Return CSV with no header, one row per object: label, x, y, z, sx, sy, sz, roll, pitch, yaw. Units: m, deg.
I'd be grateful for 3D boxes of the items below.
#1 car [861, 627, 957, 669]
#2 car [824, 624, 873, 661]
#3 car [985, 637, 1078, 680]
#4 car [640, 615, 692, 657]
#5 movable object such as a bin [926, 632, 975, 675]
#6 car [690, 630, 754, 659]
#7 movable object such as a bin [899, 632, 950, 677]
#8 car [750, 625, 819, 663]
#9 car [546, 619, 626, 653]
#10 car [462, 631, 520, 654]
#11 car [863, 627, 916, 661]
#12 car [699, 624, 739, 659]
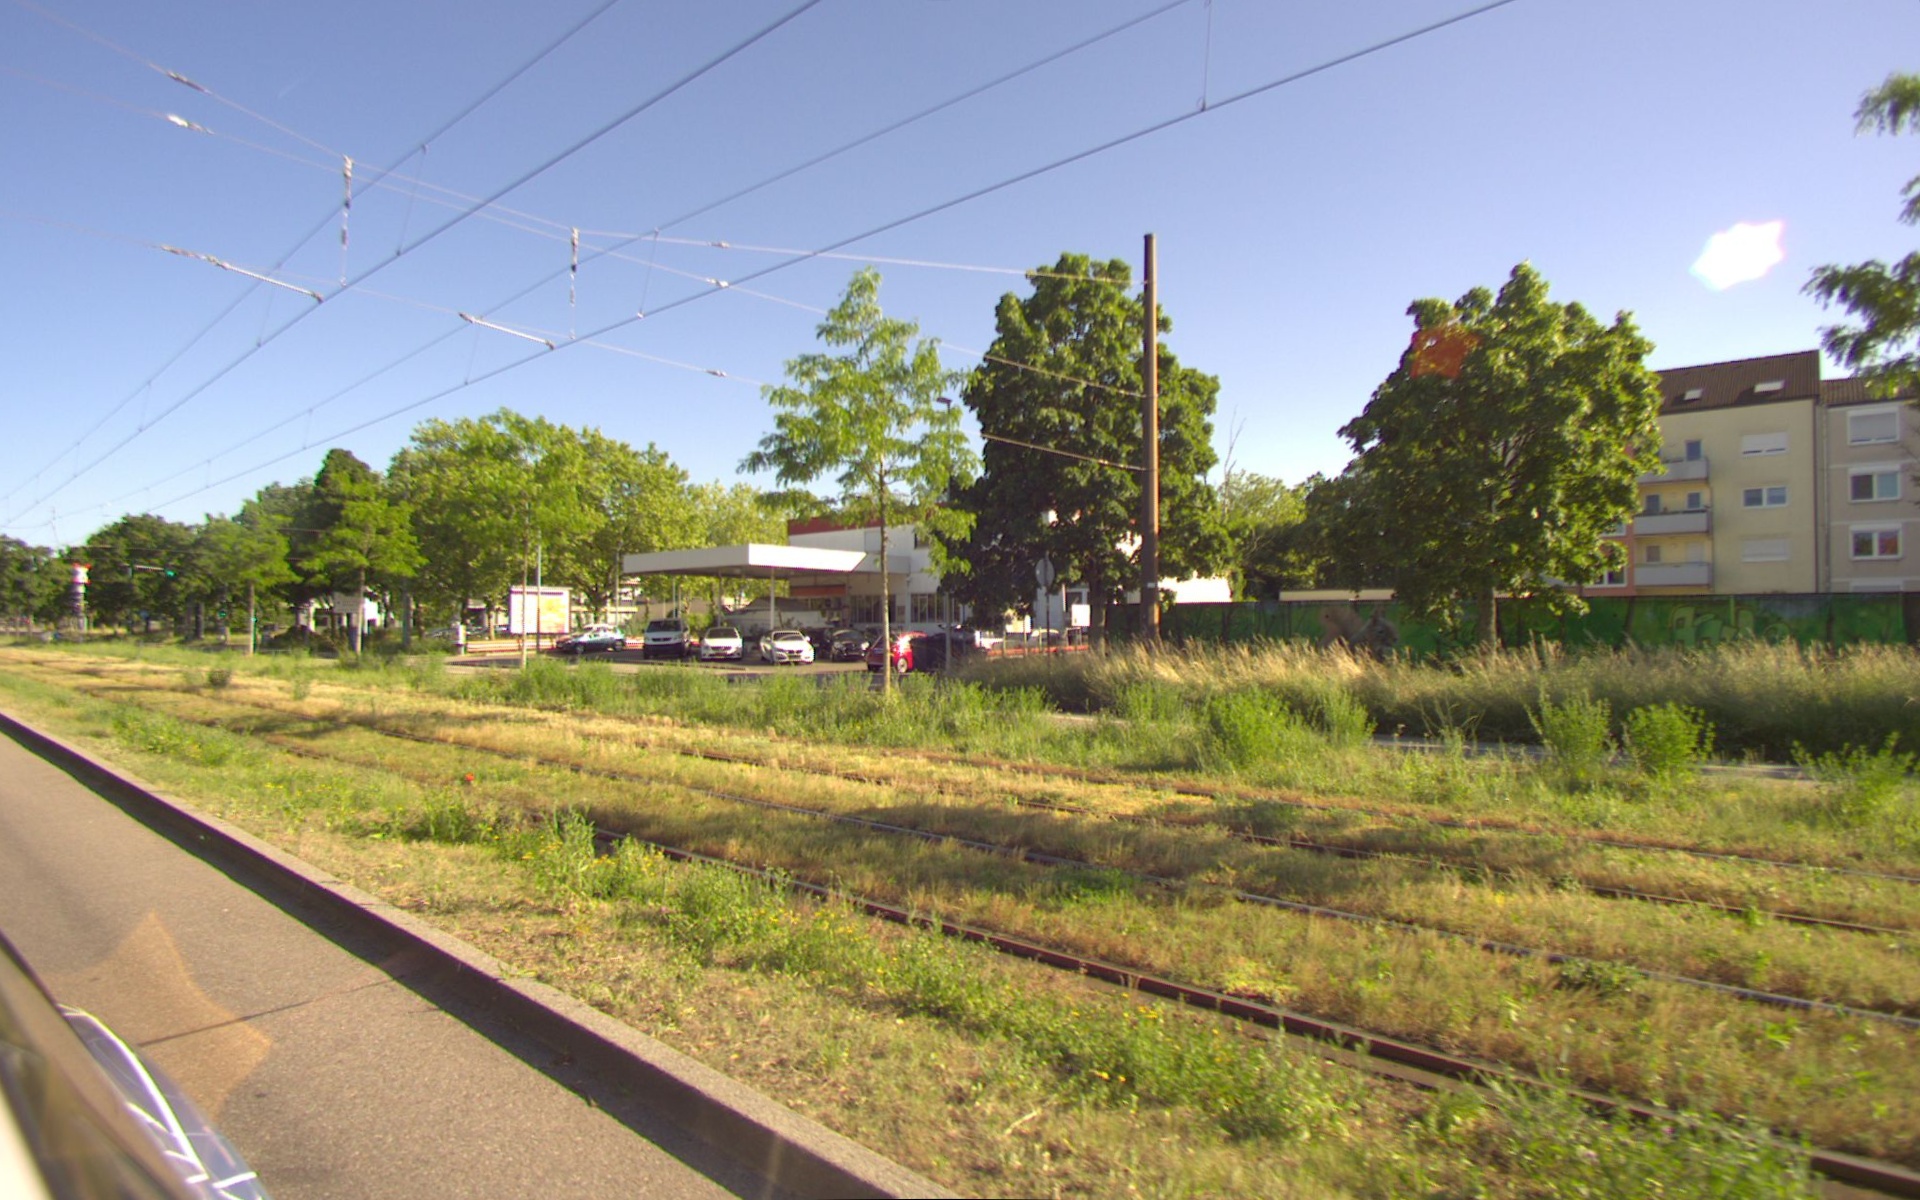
car,-1.880,1.808,38.198,1.639,1.523,3.665,-2,-3,38
car,-5.033,1.866,45.419,1.820,1.519,4.000,1,-1,-11
car,2.838,2.252,39.563,1.704,1.521,3.777,-2,-2,42
car,-14.167,1.755,49.015,1.868,1.925,4.819,0,-2,-9
movable object such as a bin,-0.305,1.750,33.184,1.120,1.375,1.212,-1,-3,38
car,-15.531,2.889,65.882,1.970,1.834,4.530,3,-4,-44
movable object such as a bin,-1.112,1.709,32.169,1.120,1.379,1.212,-1,-2,38
car,-7.698,1.873,43.950,1.992,1.519,4.905,1,-1,-21
car,-22.062,2.089,59.792,2.000,1.871,3.943,-2,-1,44
car,-39.906,3.588,86.165,1.998,1.840,4.001,-1,-1,38
car,-3.456,2.123,48.930,1.994,1.562,4.310,1,-3,-11
car,-10.965,1.853,46.044,1.689,1.435,4.468,0,-1,-13
